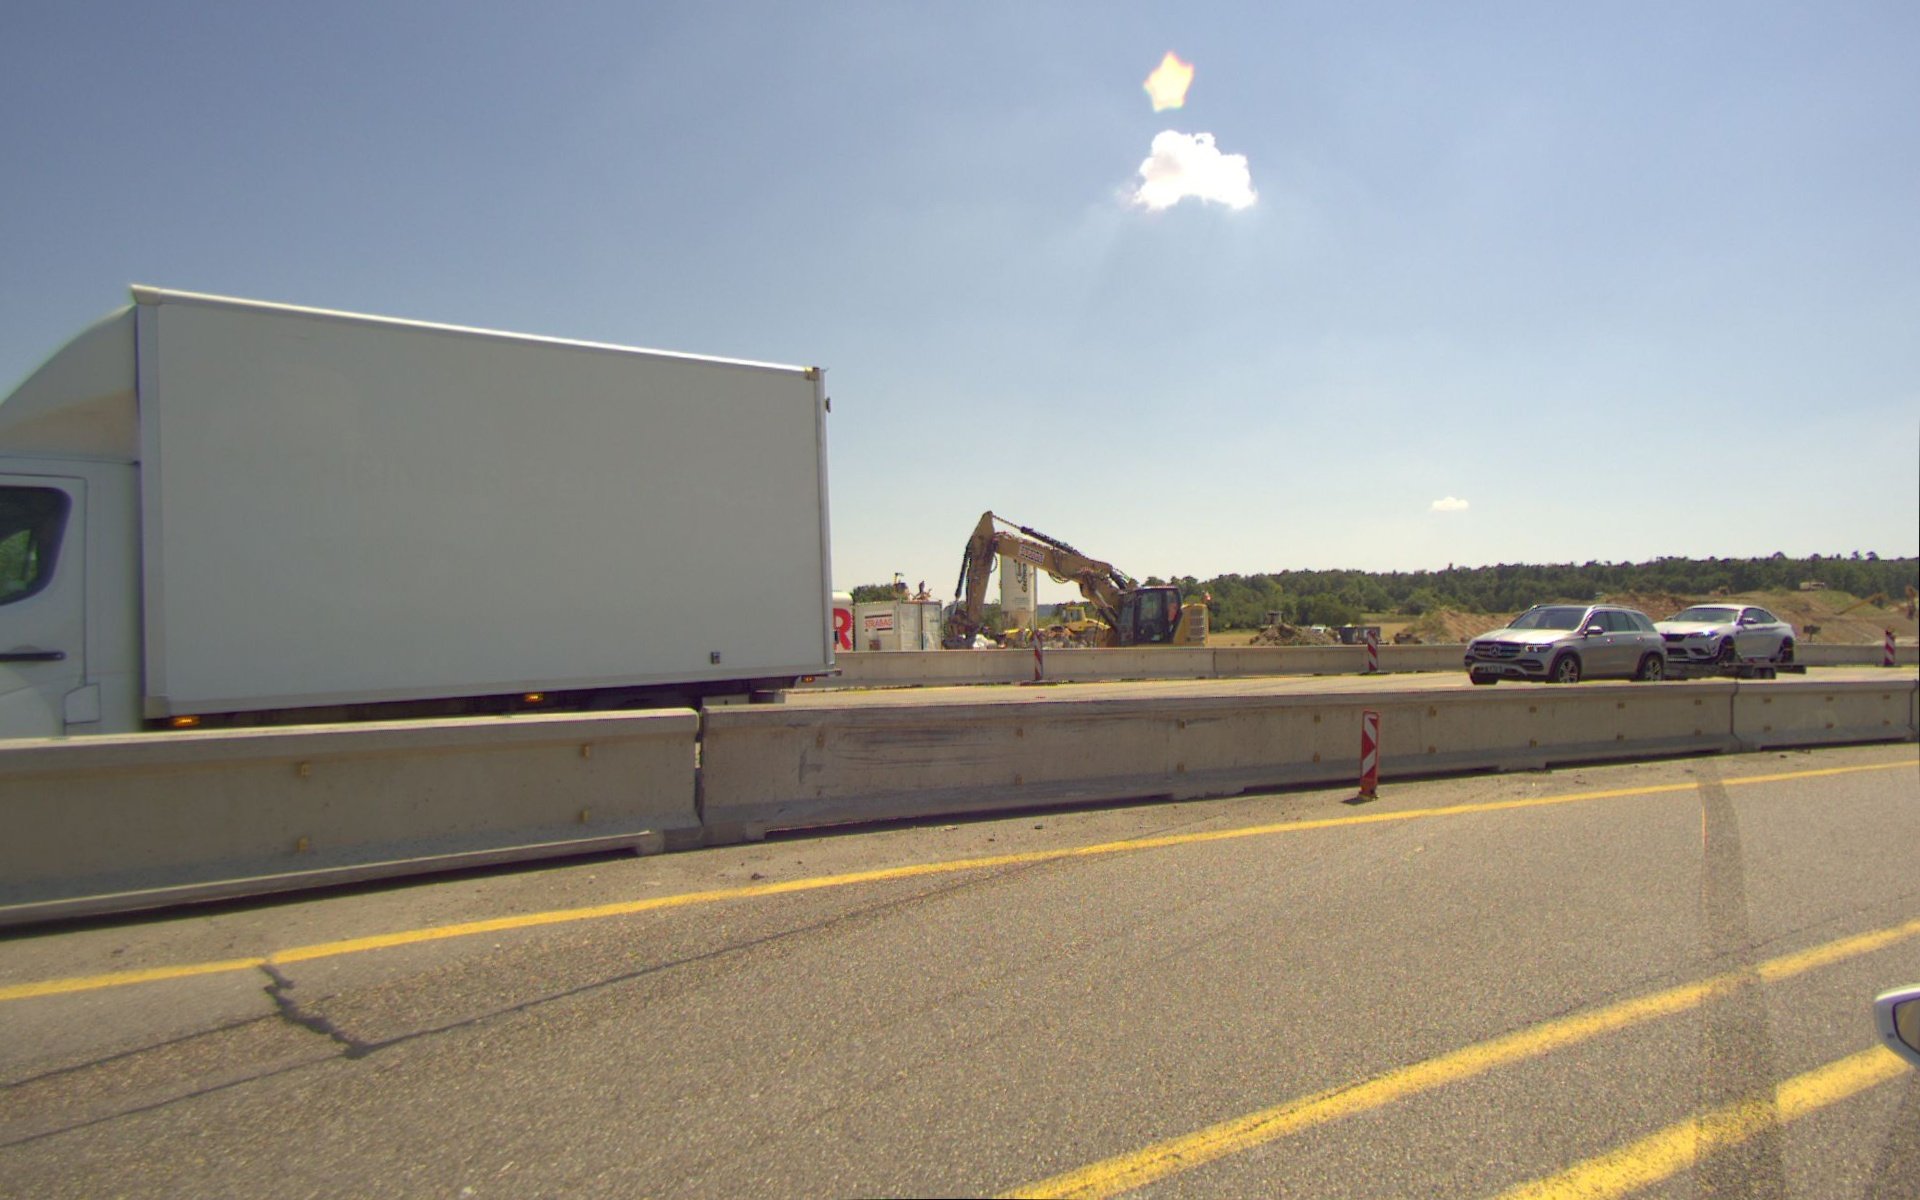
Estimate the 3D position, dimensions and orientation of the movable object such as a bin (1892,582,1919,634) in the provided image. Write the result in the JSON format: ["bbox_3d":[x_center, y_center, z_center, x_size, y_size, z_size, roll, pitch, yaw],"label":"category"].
[{"bbox_3d":[146.250,1.213,151.869,3.420,7.816,7.567,1,-1,-42],"label":"movable object such as a bin"}]

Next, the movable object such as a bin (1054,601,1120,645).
[{"bbox_3d":[9.471,1.701,74.951,4.418,3.182,1.991,1,0,-20],"label":"movable object such as a bin"}]

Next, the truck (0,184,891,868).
[{"bbox_3d":[-4.110,-0.337,6.986,6.850,3.426,2.565,1,-1,-32],"label":"truck"}]

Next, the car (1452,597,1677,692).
[{"bbox_3d":[12.874,0.926,21.342,4.844,1.830,1.859,1,-2,-28],"label":"car"}]

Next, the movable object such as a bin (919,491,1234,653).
[{"bbox_3d":[3.570,-0.669,30.351,9.189,4.387,2.918,1,0,-22],"label":"movable object such as a bin"}]

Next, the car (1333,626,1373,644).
[{"bbox_3d":[32.703,2.887,83.504,1.594,1.428,4.421,0,-1,43],"label":"car"}]

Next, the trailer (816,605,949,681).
[{"bbox_3d":[-3.410,1.775,43.559,5.506,3.036,2.865,0,-1,45],"label":"trailer"}]

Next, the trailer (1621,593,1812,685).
[{"bbox_3d":[18.205,0.914,24.163,4.376,2.049,1.860,1,-1,-25],"label":"trailer"}]

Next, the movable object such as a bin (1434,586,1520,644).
[{"bbox_3d":[29.199,0.864,56.721,4.212,3.182,1.991,1,0,-20],"label":"movable object such as a bin"}]

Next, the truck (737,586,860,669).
[{"bbox_3d":[-6.308,1.044,39.544,2.316,3.084,4.238,0,-1,44],"label":"truck"}]
